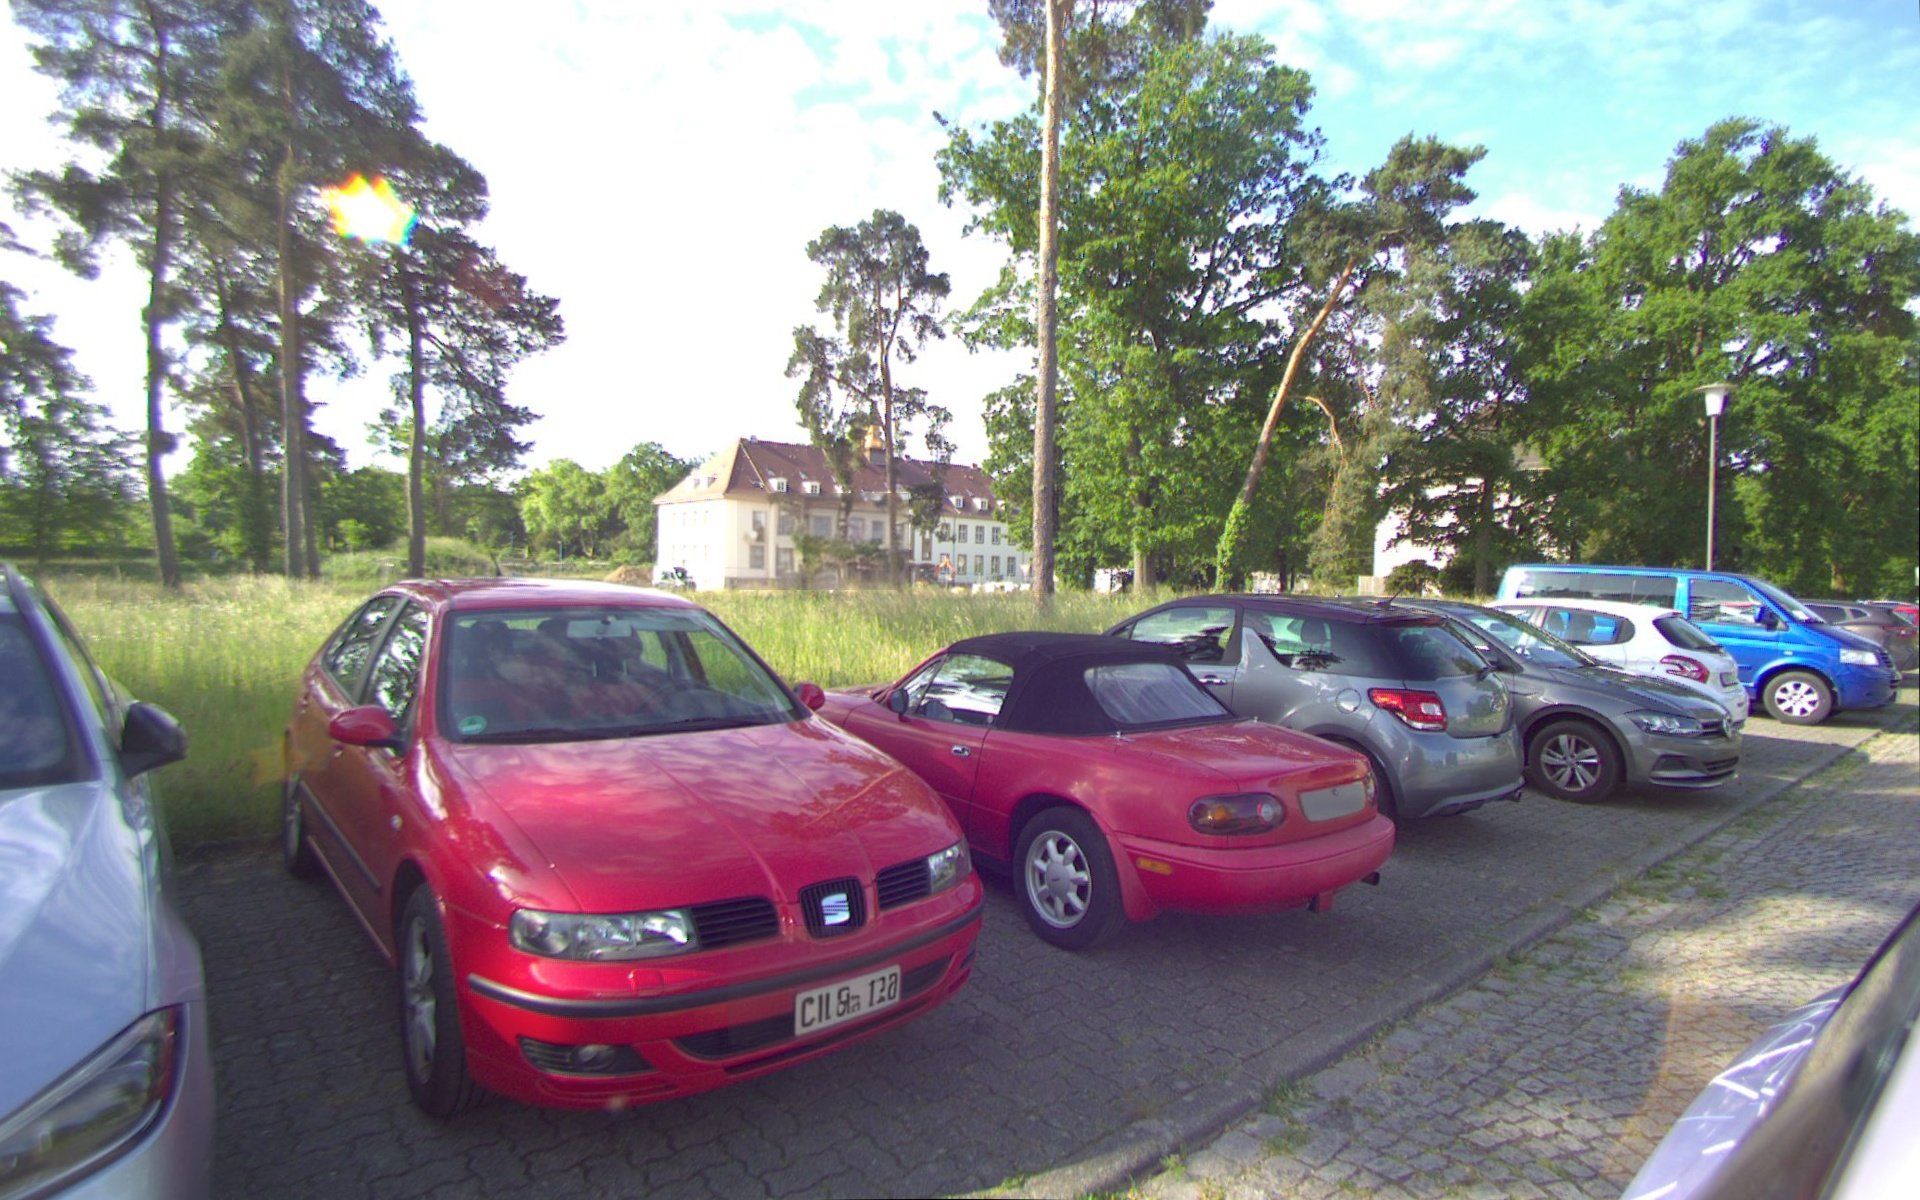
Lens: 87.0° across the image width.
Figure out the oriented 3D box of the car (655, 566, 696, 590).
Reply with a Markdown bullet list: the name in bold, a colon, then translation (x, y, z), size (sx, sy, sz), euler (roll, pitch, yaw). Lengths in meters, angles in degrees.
- **car**: translation (-28.185, -2.192, 100.219), size (1.967, 2.241, 4.422), euler (-1, 0, -44)

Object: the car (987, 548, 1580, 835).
- **car**: translation (2.121, 0.425, 7.401), size (1.784, 1.466, 3.715), euler (1, 3, -41)

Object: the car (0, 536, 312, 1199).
- **car**: translation (-3.023, 0.557, 2.577), size (1.749, 1.432, 4.443), euler (1, 3, -40)

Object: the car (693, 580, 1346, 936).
- **car**: translation (0.064, 0.598, 5.924), size (1.715, 1.238, 3.716), euler (1, 3, -40)

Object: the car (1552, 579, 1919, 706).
- **car**: translation (12.324, 0.555, 16.290), size (1.905, 1.596, 4.407), euler (0, 3, -41)

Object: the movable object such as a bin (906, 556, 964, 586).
- **movable object such as a bin**: translation (-2.835, -3.302, 115.732), size (6.336, 3.342, 2.862), euler (-1, 0, 6)

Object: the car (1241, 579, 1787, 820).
- **car**: translation (4.586, 0.646, 8.791), size (1.823, 1.466, 3.716), euler (1, 3, -40)

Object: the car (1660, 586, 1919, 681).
- **car**: translation (16.871, 0.587, 20.383), size (1.902, 1.617, 4.231), euler (-1, 3, -43)

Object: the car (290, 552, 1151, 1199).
- **car**: translation (-1.408, 0.615, 4.005), size (1.607, 1.466, 4.137), euler (1, 3, -40)

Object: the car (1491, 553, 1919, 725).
- **car**: translation (10.501, 0.381, 14.465), size (1.965, 1.959, 4.708), euler (0, 3, -41)

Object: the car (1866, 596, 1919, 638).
- **car**: translation (35.695, 0.686, 36.633), size (1.754, 1.440, 4.095), euler (1, 3, -42)

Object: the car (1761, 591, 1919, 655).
- **car**: translation (24.400, 0.606, 27.298), size (1.821, 1.477, 4.095), euler (1, 3, -42)

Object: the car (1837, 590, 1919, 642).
- **car**: translation (32.106, 0.586, 33.745), size (1.821, 1.576, 4.095), euler (1, 3, -42)

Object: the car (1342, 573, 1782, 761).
- **car**: translation (6.366, 0.569, 11.023), size (1.730, 1.553, 3.716), euler (1, 3, -40)
